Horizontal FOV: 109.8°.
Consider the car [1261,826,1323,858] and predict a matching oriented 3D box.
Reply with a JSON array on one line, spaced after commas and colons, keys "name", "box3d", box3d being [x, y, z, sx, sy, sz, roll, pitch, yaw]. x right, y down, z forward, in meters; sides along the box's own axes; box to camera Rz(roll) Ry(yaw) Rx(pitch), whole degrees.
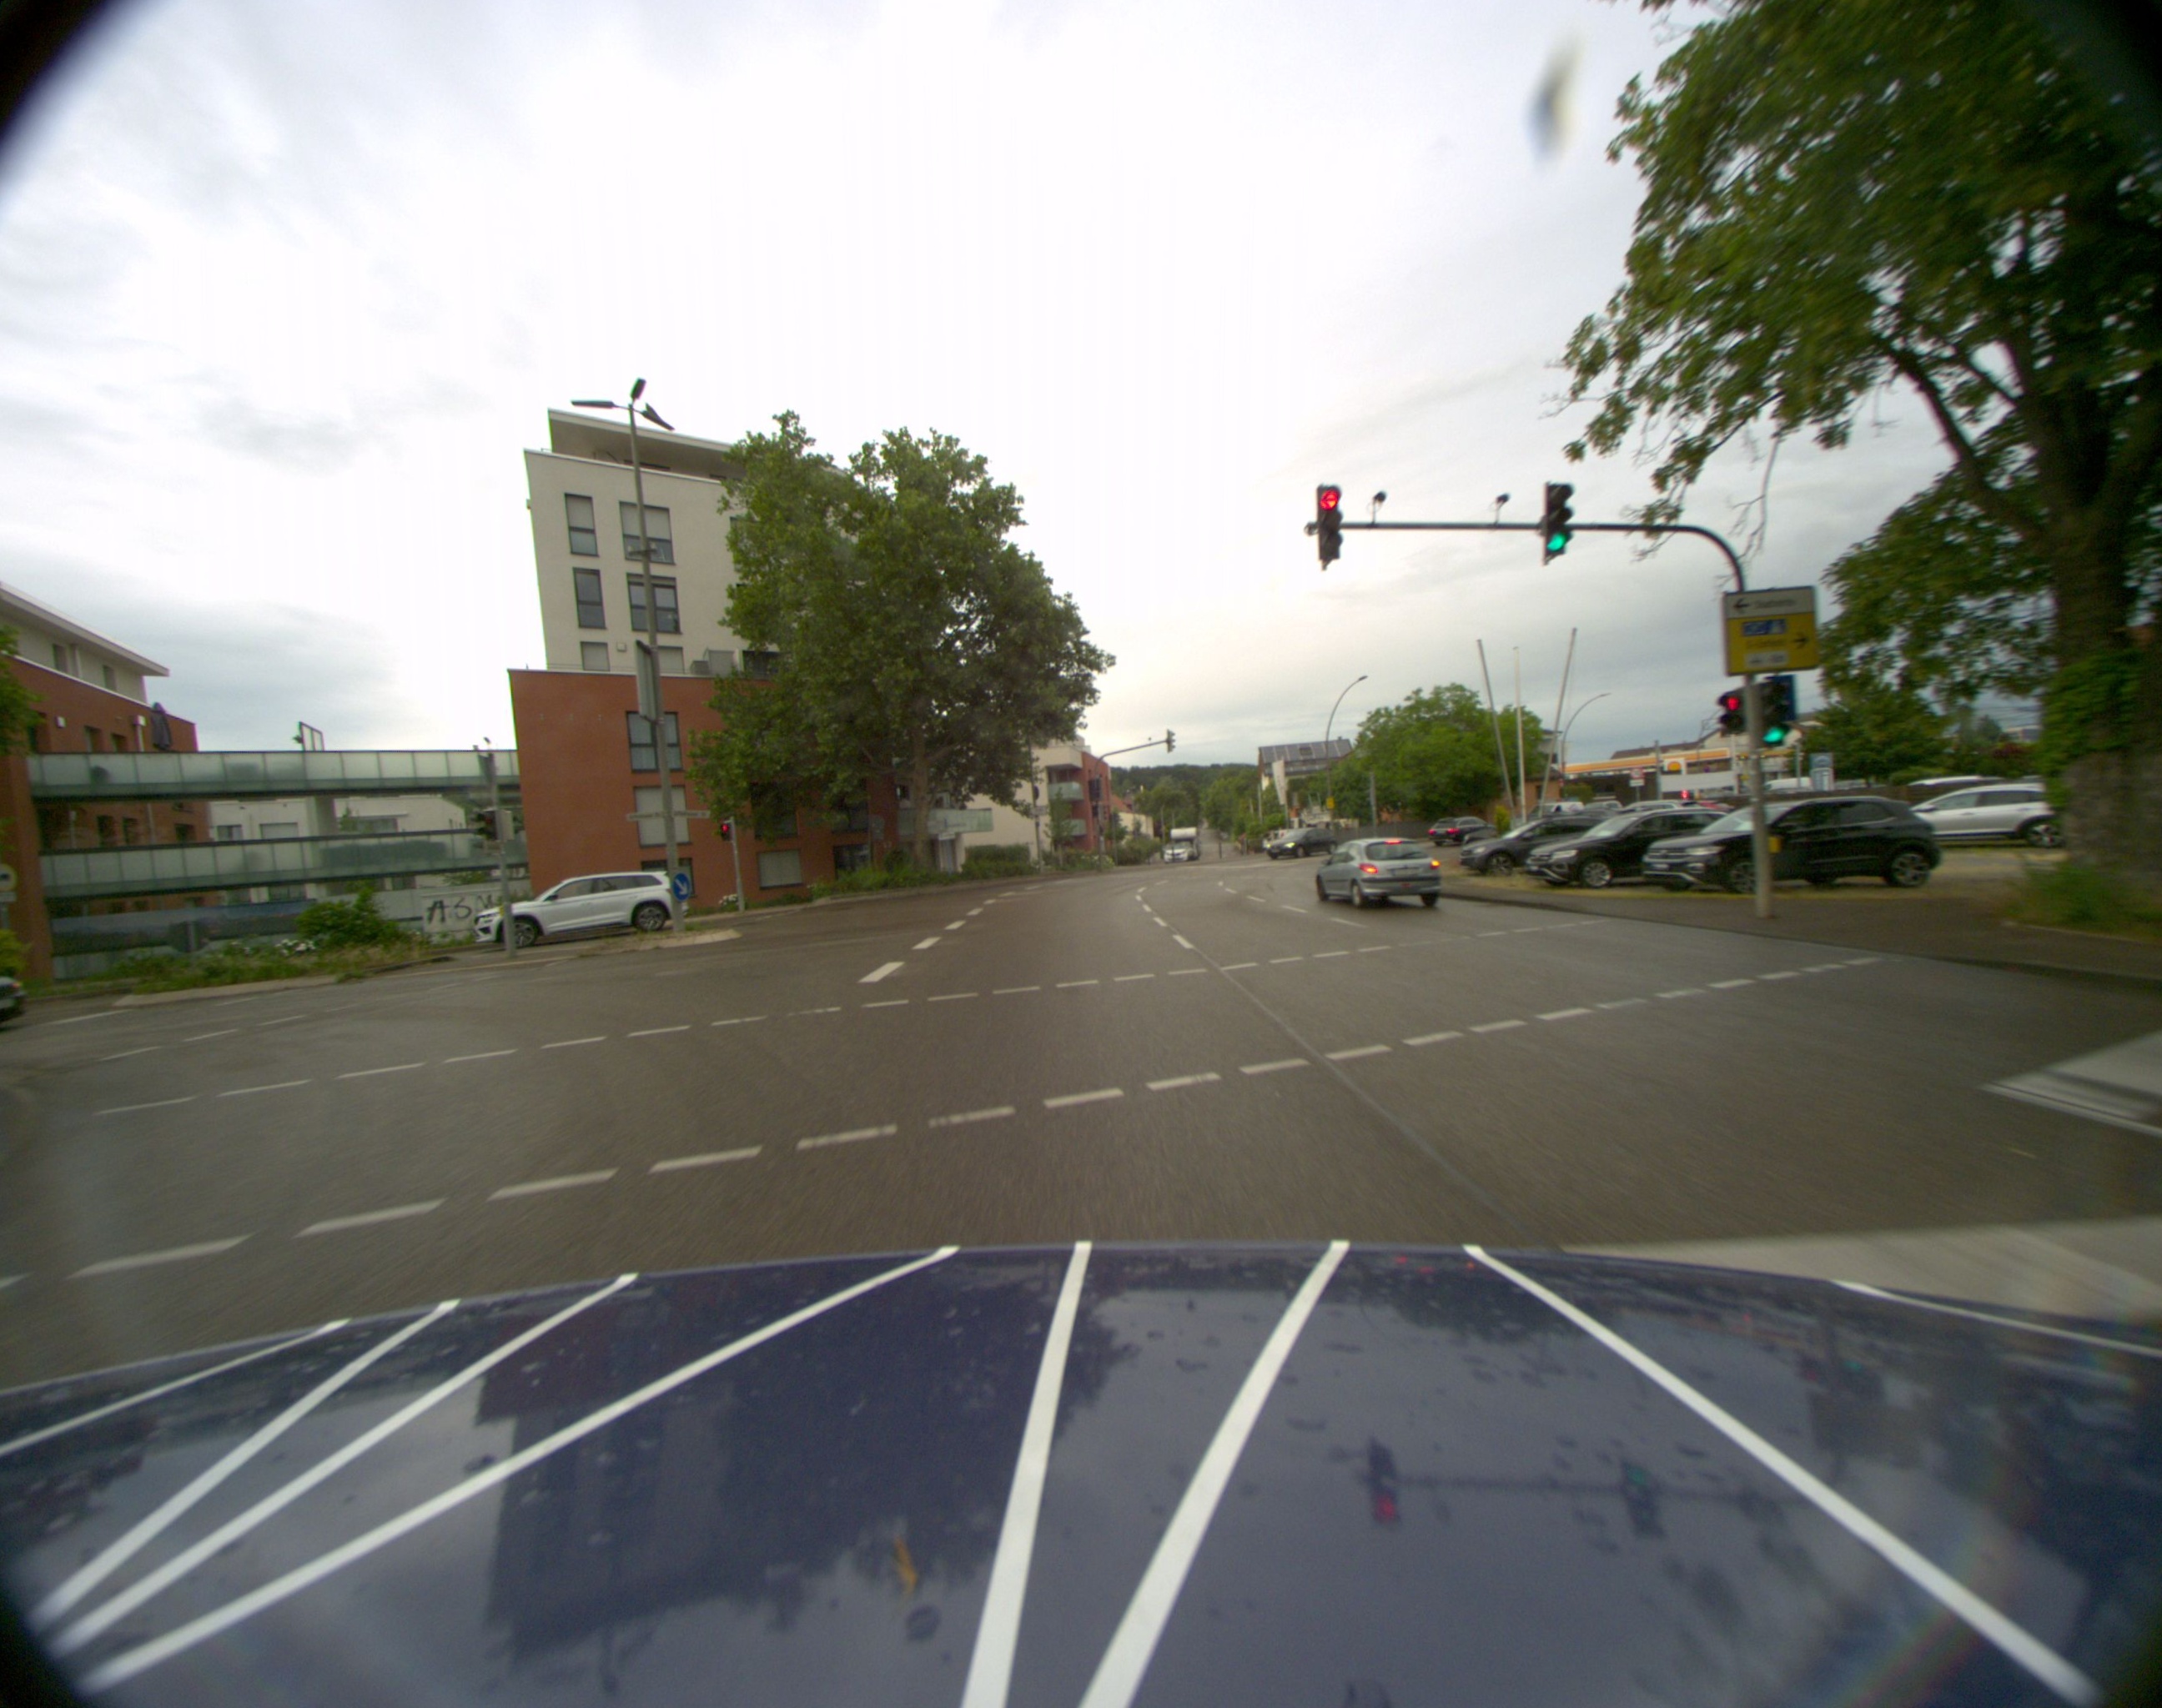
[{"name": "car", "box3d": [15.506, -0.919, 56.047, 1.773, 2.093, 4.373, -5, 4, -29]}]

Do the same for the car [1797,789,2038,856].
[{"name": "car", "box3d": [22.158, -0.784, 20.303, 1.793, 1.443, 4.035, -5, 1, -31]}]

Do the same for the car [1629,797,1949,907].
[{"name": "car", "box3d": [12.254, -0.032, 13.367, 3.893, 1.558, 1.672, -4, 1, 4]}]

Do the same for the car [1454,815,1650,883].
[{"name": "car", "box3d": [12.553, -0.143, 20.517, 4.152, 1.501, 1.673, -4, 2, 17]}]

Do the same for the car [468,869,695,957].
[{"name": "car", "box3d": [-12.790, 1.418, 19.681, 4.624, 1.629, 1.668, -5, 2, -37]}]

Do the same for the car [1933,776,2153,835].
[{"name": "car", "box3d": [29.785, -1.453, 23.667, 1.793, 1.443, 4.035, -5, 1, -31]}]

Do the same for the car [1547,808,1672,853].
[{"name": "car", "box3d": [21.185, -0.916, 30.552, 1.595, 1.542, 3.765, -5, 1, -40]}]

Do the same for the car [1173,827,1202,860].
[{"name": "car", "box3d": [10.300, -1.071, 73.645, 2.573, 2.759, 6.128, -3, 4, 8]}]

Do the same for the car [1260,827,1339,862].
[{"name": "car", "box3d": [11.113, -0.512, 38.603, 4.006, 1.419, 1.766, -6, 3, -38]}]

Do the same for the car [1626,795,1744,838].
[{"name": "car", "box3d": [26.579, -1.625, 33.515, 1.595, 1.542, 3.765, -5, 1, -40]}]

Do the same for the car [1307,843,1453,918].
[{"name": "car", "box3d": [6.353, 0.503, 16.591, 1.649, 1.372, 3.702, -3, 1, -1]}]

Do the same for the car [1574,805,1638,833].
[{"name": "car", "box3d": [40.047, -2.698, 57.898, 4.929, 1.853, 2.049, -3, 0, -30]}]

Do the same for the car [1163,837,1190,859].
[{"name": "car", "box3d": [7.082, -0.434, 56.885, 1.769, 1.459, 4.001, -4, 1, 5]}]

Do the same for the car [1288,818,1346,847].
[{"name": "car", "box3d": [18.802, -1.722, 60.661, 1.773, 2.093, 4.212, -6, 4, -30]}]

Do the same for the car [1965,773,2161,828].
[{"name": "car", "box3d": [32.349, -1.716, 24.948, 1.793, 1.443, 4.035, -5, 1, -31]}]

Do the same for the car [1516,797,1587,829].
[{"name": "car", "box3d": [33.845, -2.948, 54.589, 5.262, 2.074, 2.049, -3, 1, -30]}]

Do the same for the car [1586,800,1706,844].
[{"name": "car", "box3d": [23.826, -1.342, 32.127, 1.595, 1.542, 3.765, -5, 1, -40]}]

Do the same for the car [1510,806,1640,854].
[{"name": "car", "box3d": [18.688, -0.874, 28.879, 1.595, 1.542, 3.765, -5, 1, -40]}]

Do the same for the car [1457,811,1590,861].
[{"name": "car", "box3d": [15.832, -0.612, 27.295, 1.595, 1.542, 3.765, -5, 1, -42]}]

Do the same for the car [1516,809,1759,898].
[{"name": "car", "box3d": [11.629, -0.010, 16.114, 3.765, 1.558, 1.673, -4, 1, 7]}]

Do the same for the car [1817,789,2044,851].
[{"name": "car", "box3d": [24.191, -0.919, 21.808, 1.793, 1.443, 4.035, -5, 1, -31]}]

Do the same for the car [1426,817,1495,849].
[{"name": "car", "box3d": [20.127, -1.141, 40.250, 4.006, 1.420, 1.765, -6, 5, -39]}]

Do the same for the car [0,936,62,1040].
[{"name": "car", "box3d": [-17.993, 2.226, 10.600, 4.160, 1.454, 1.886, -6, 2, -14]}]
